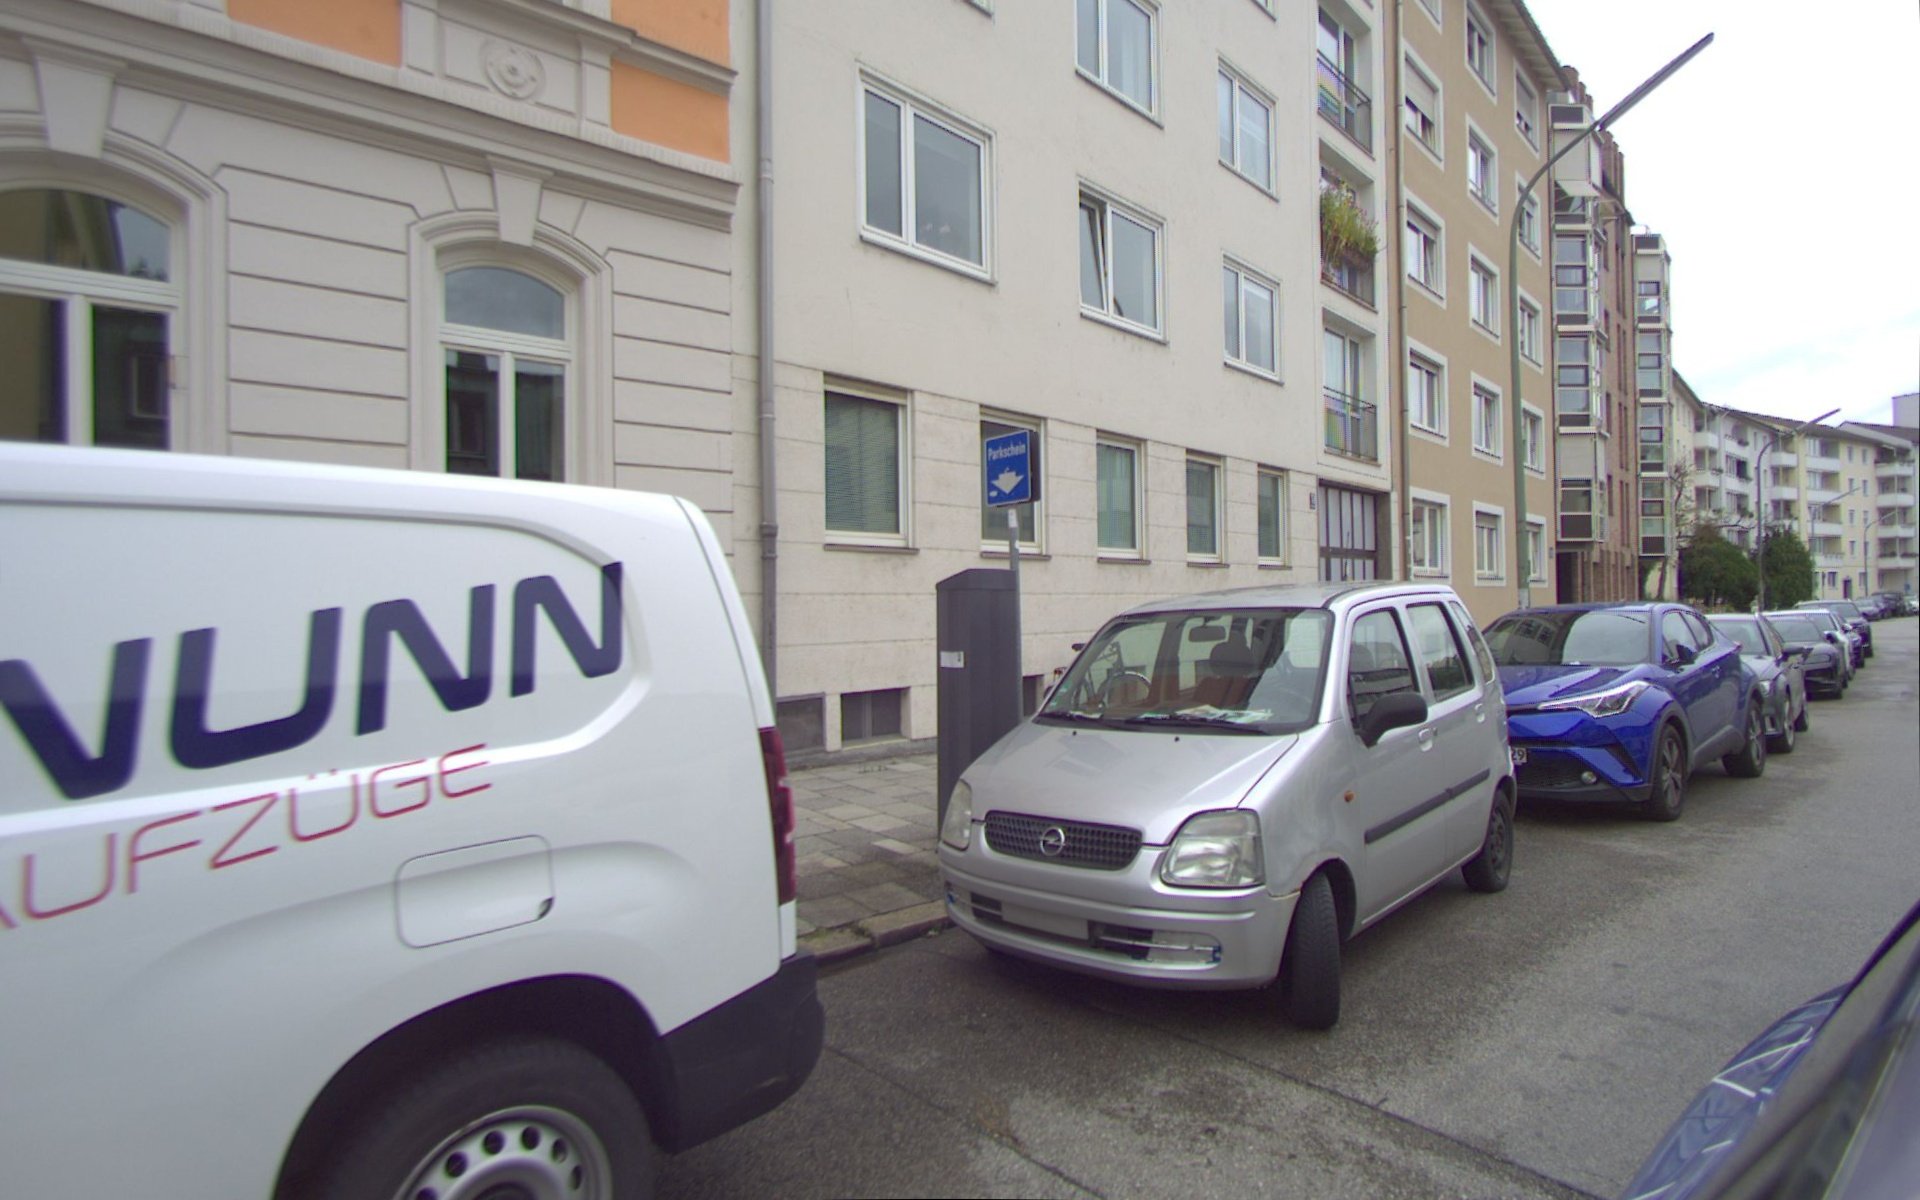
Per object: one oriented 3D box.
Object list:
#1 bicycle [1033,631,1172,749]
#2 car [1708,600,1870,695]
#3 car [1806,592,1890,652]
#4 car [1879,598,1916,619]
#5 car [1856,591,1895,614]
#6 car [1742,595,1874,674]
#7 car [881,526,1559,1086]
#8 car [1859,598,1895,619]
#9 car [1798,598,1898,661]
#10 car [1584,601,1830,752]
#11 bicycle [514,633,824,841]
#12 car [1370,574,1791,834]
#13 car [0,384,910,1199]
[{"bbox_3d":[1.566,0.924,10.957,0.667,1.136,1.626,-2,-1,43],"label":"bicycle"},{"bbox_3d":[14.685,0.727,17.837,1.890,1.414,4.419,1,1,44],"label":"car"},{"bbox_3d":[25.777,0.597,29.382,1.736,1.599,3.776,0,0,42],"label":"car"},{"bbox_3d":[68.070,0.618,73.465,3.510,1.472,1.753,0,-1,-44],"label":"car"},{"bbox_3d":[60.940,0.125,67.419,1.750,1.471,3.518,2,2,40],"label":"car"},{"bbox_3d":[18.406,0.654,21.899,1.891,1.481,4.419,2,2,44],"label":"car"},{"bbox_3d":[1.494,0.625,4.884,1.603,1.663,3.574,-3,-2,43],"label":"car"},{"bbox_3d":[63.948,0.589,70.610,1.749,1.472,3.517,-1,-1,40],"label":"car"},{"bbox_3d":[22.201,0.671,25.313,1.736,1.356,4.102,2,2,42],"label":"car"},{"bbox_3d":[8.706,0.747,11.655,1.740,1.414,4.134,-2,-2,44],"label":"car"},{"bbox_3d":[-1.876,0.817,6.769,0.667,1.136,1.925,-2,-1,43],"label":"bicycle"},{"bbox_3d":[5.227,0.676,8.300,4.127,1.608,1.743,0,-2,-41],"label":"car"},{"bbox_3d":[-2.569,0.628,1.661,4.807,1.809,1.843,0,-3,-40],"label":"car"}]
